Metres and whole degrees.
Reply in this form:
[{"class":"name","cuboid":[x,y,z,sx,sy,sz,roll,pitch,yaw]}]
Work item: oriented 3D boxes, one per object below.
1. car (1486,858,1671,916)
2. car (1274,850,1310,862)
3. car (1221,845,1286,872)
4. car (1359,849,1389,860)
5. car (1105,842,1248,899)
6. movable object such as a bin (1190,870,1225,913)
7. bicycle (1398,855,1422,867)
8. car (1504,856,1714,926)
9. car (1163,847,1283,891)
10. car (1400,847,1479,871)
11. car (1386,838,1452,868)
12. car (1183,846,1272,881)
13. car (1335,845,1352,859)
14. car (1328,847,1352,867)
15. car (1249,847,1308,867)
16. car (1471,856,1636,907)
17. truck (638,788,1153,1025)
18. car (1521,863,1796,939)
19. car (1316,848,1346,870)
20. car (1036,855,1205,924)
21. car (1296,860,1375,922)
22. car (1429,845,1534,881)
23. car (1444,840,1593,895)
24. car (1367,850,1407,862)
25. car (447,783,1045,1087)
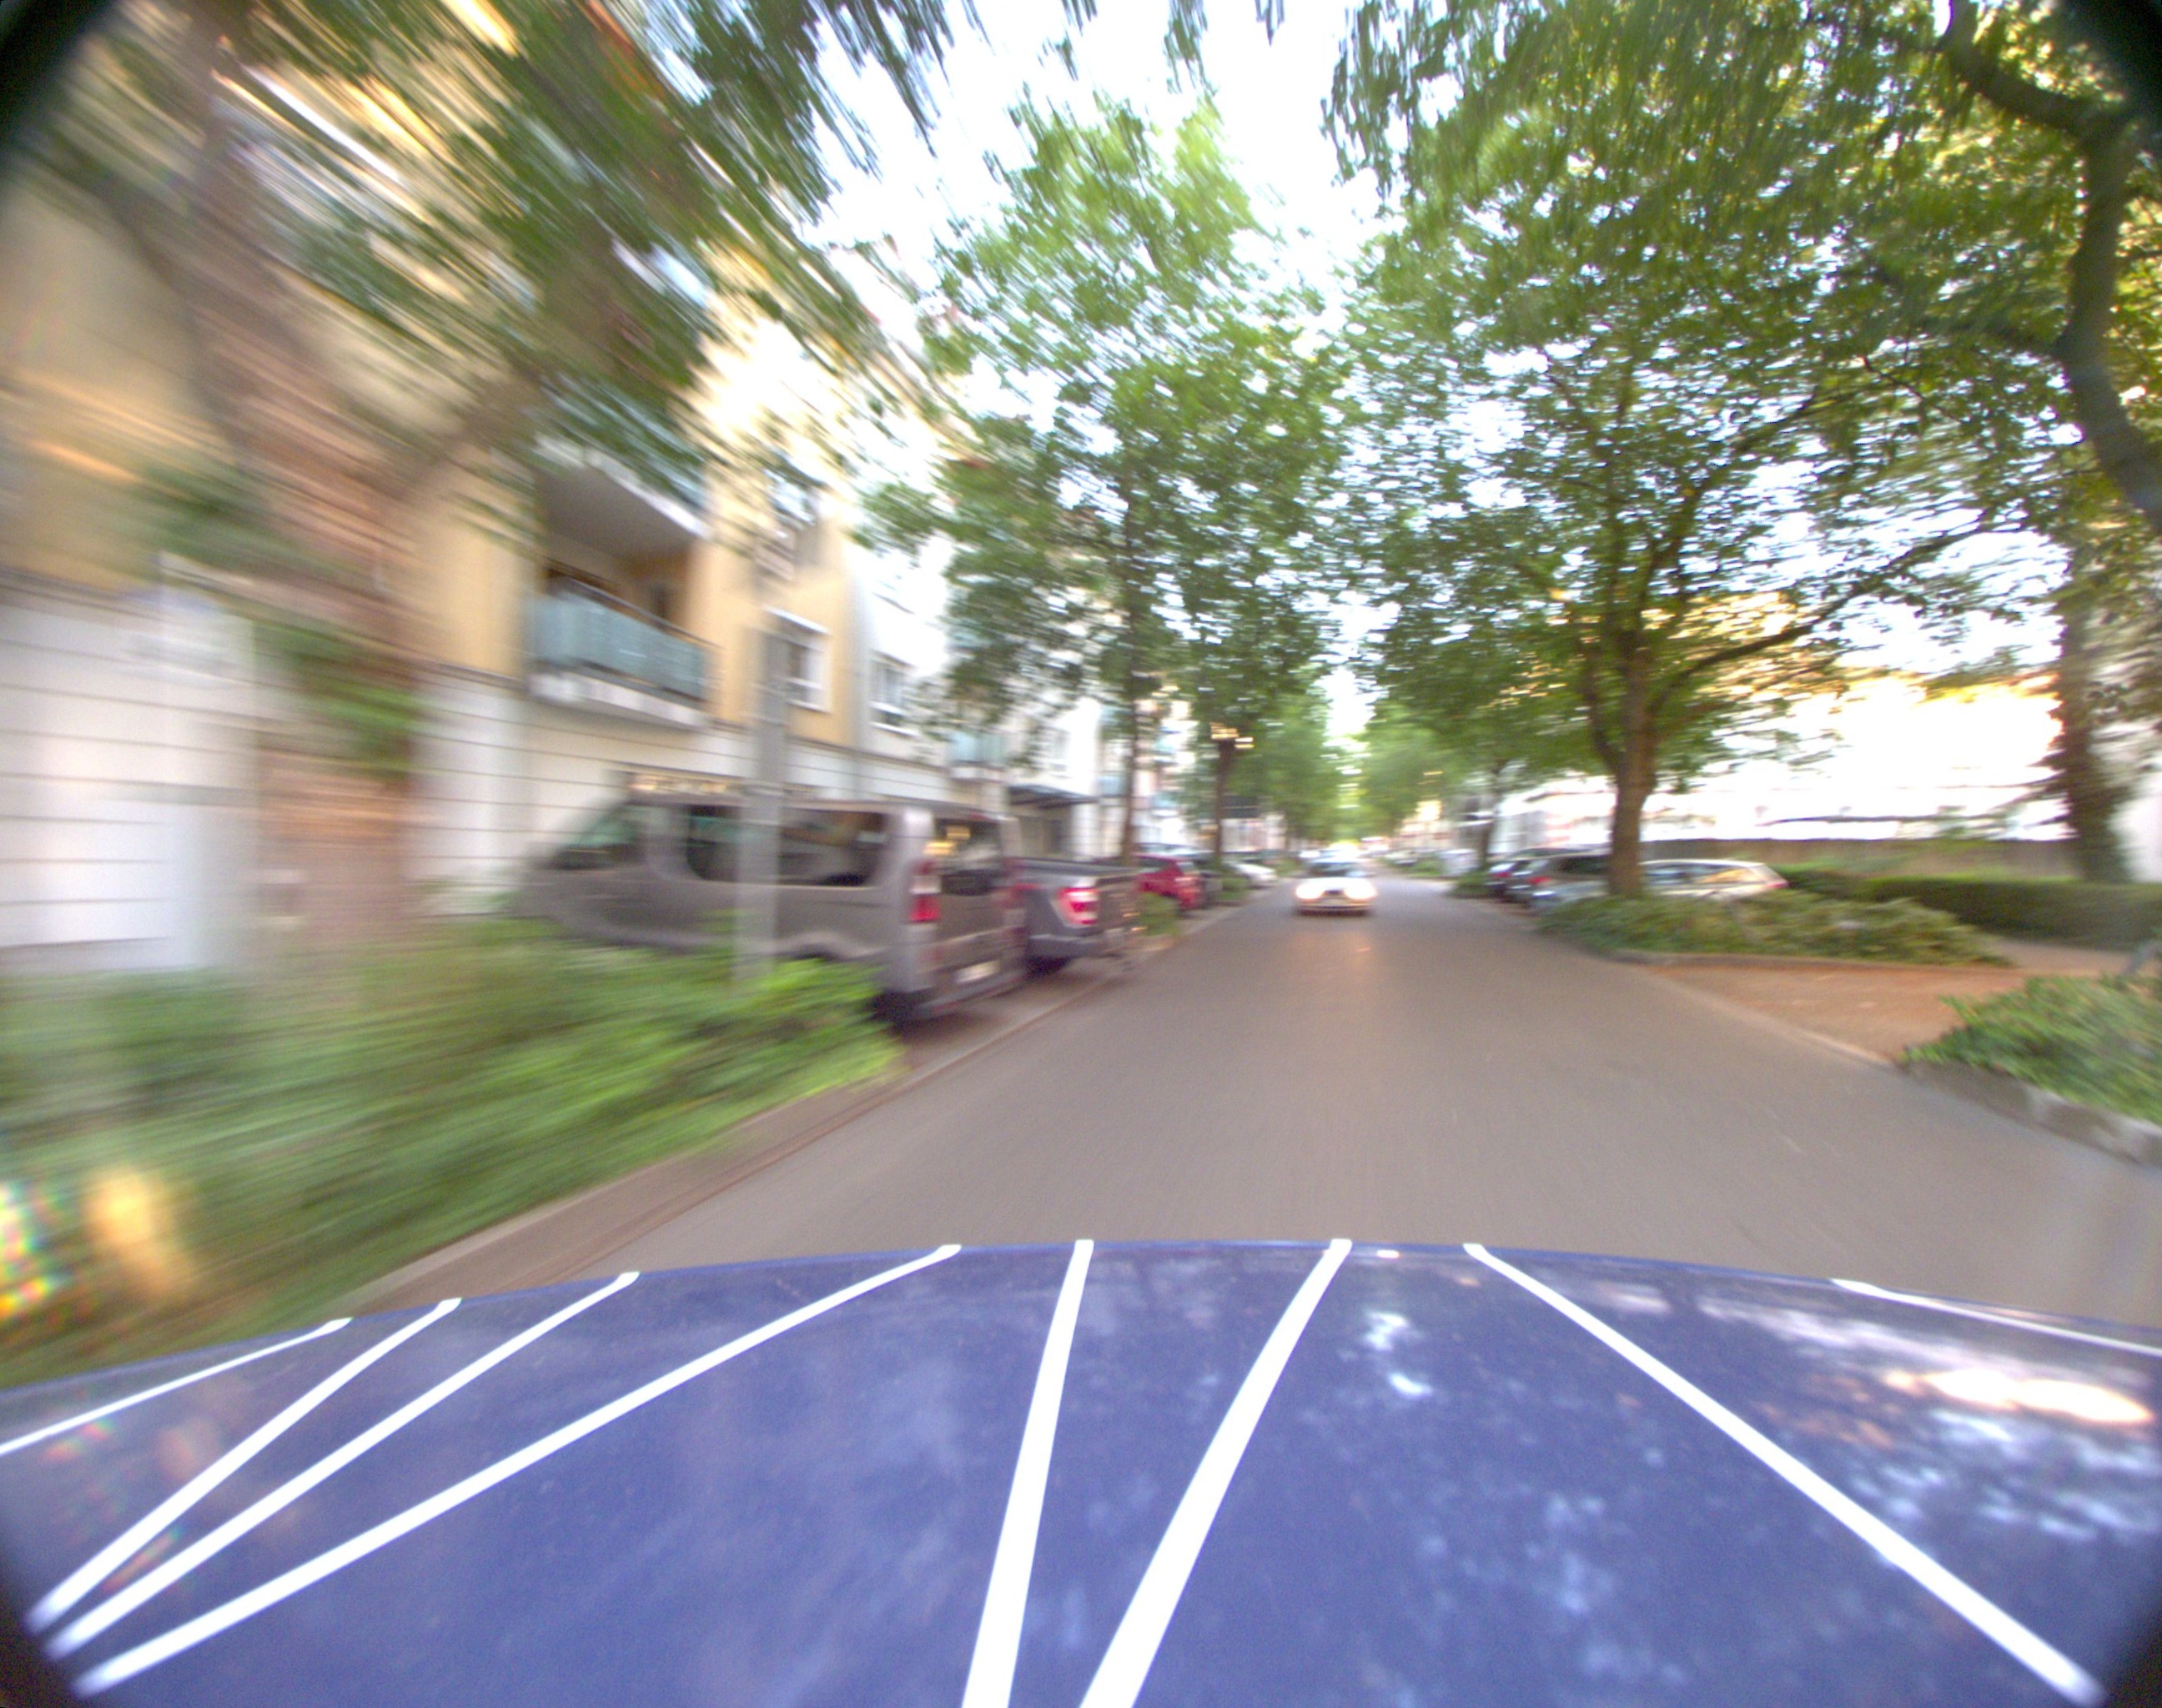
[{"class":"car","cuboid":[13.838,0.880,21.404,3.992,1.482,1.827,0,1,16]},{"class":"car","cuboid":[25.170,0.245,90.781,4.087,1.482,1.800,0,1,16]},{"class":"car","cuboid":[11.522,0.294,50.640,3.973,1.576,1.919,3,2,18]},{"class":"car","cuboid":[48.947,0.035,126.967,4.595,1.725,2.144,0,1,23]},{"class":"car","cuboid":[3.384,0.519,26.705,4.647,1.608,2.012,4,2,15]},{"class":"movable object such as a bin","cuboid":[3.409,0.989,20.508,0.761,1.078,0.786,2,1,19]},{"class":"bicycle","cuboid":[22.800,0.488,52.662,1.554,0.826,0.614,0,1,22]},{"class":"car","cuboid":[12.897,0.841,18.904,3.990,1.556,1.932,0,1,24]},{"class":"car","cuboid":[5.859,0.582,31.346,4.604,1.460,1.798,3,2,18]},{"class":"car","cuboid":[25.361,0.323,53.899,4.858,1.612,2.163,0,1,19]},{"class":"car","cuboid":[29.242,-0.071,65.852,5.009,2.558,2.124,0,1,18]},{"class":"car","cuboid":[7.192,0.432,37.253,4.088,1.443,1.936,4,2,13]},{"class":"car","cuboid":[36.237,-0.315,104.858,1.995,1.838,4.006,-1,0,23]},{"class":"car","cuboid":[25.641,0.277,75.230,1.995,1.838,4.006,-1,0,23]},{"class":"car","cuboid":[16.364,0.249,62.918,4.461,1.419,2.014,3,2,23]},{"class":"car","cuboid":[14.553,0.816,23.680,3.991,1.455,1.925,0,1,17]},{"class":"truck","cuboid":[-2.257,0.488,9.377,5.894,2.297,2.215,0,1,19]},{"class":"car","cuboid":[12.063,0.925,16.256,4.292,1.421,1.882,0,1,18]},{"class":"car","cuboid":[19.580,0.375,59.471,1.890,1.636,4.006,-1,0,23]},{"class":"car","cuboid":[1.003,0.807,18.613,3.781,1.535,1.880,0,1,17]},{"class":"car","cuboid":[6.563,0.877,19.903,1.734,1.363,4.338,0,0,16]},{"class":"car","cuboid":[20.584,0.442,39.300,4.510,1.762,2.002,0,1,17]},{"class":"car","cuboid":[16.306,0.476,28.601,4.510,1.944,2.002,0,1,17]},{"class":"car","cuboid":[37.750,0.243,93.755,4.514,1.517,1.874,0,1,18]},{"class":"car","cuboid":[-2.877,0.516,6.851,4.605,2.054,2.200,1,1,17]}]
